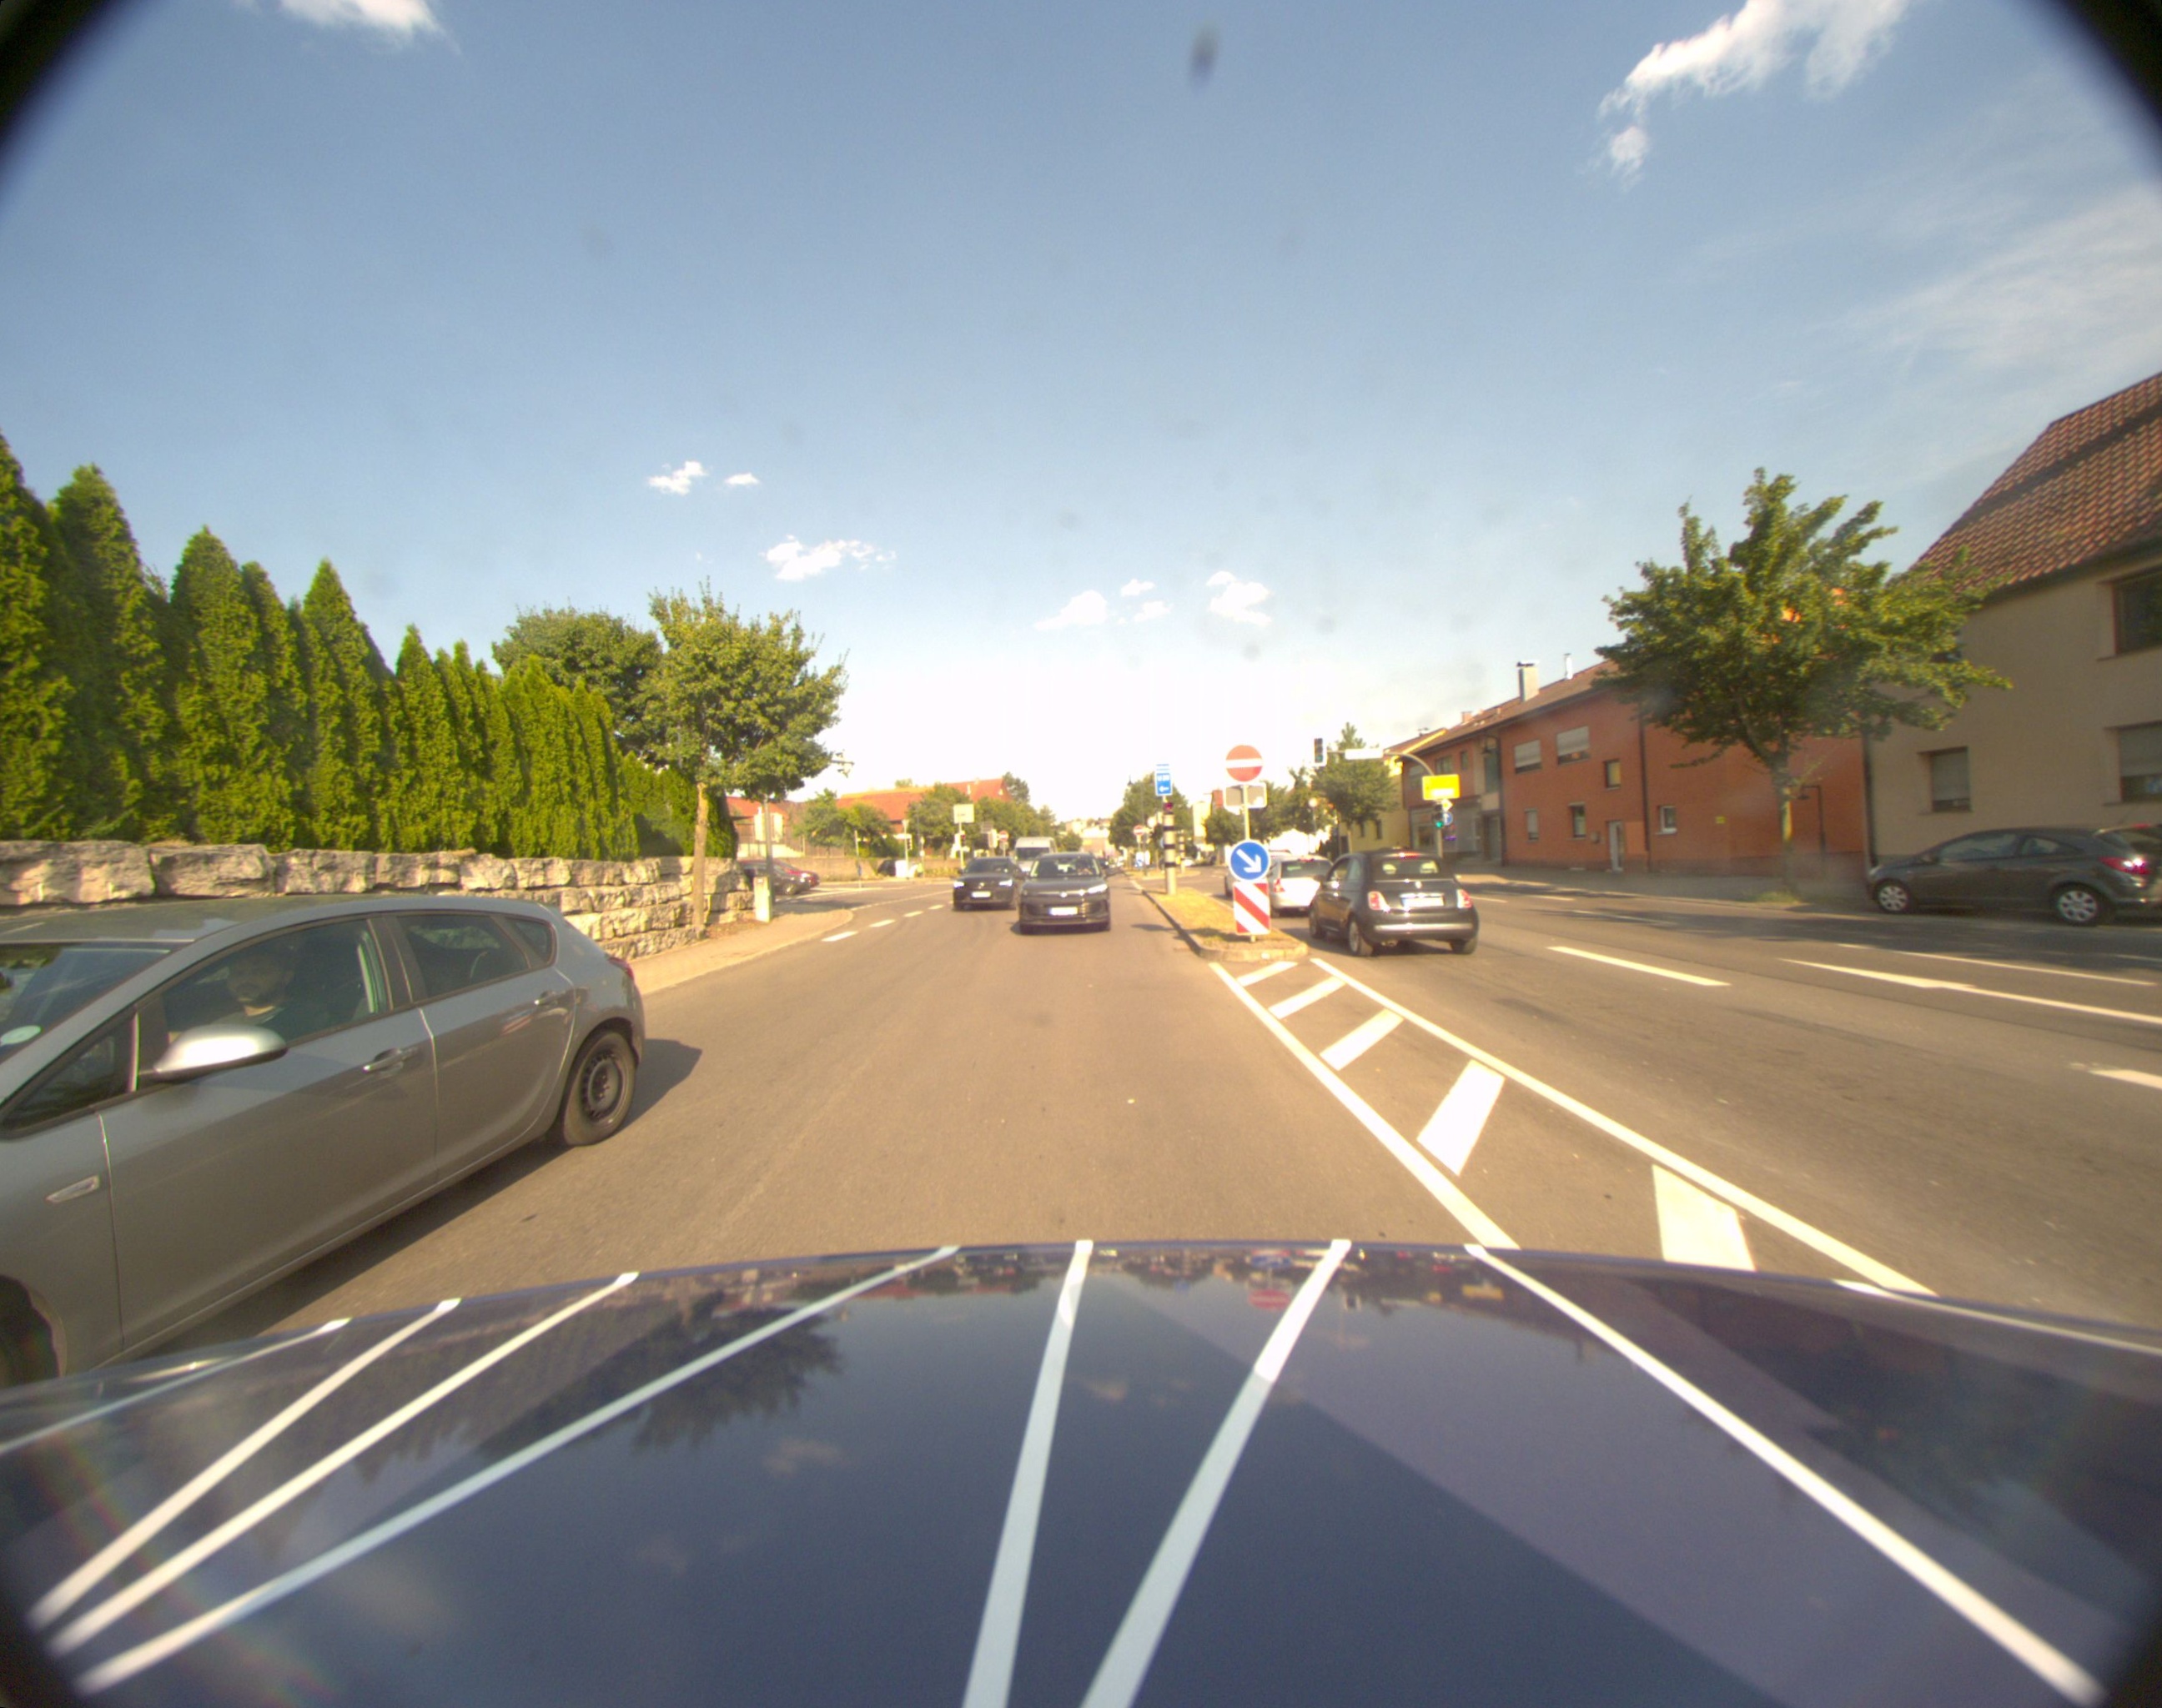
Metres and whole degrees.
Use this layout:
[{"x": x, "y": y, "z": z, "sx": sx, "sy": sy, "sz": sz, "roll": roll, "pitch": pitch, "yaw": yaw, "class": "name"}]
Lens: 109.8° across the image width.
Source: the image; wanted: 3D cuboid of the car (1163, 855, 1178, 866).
[{"x": 12.549, "y": 0.925, "z": 107.041, "sx": 1.761, "sy": 1.403, "sz": 4.001, "roll": -2, "pitch": 0, "yaw": 2, "class": "car"}]

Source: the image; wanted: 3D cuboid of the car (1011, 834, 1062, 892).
[{"x": -2.166, "y": 0.426, "z": 38.749, "sx": 2.040, "sy": 2.642, "sz": 6.649, "roll": -2, "pitch": 0, "yaw": 1, "class": "car"}]

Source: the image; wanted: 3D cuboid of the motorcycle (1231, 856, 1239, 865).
[{"x": 14.733, "y": 0.647, "z": 72.810, "sx": 0.413, "sy": 0.855, "sz": 1.763, "roll": -2, "pitch": 0, "yaw": 1, "class": "motorcycle"}]

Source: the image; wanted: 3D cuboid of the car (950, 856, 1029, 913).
[{"x": -2.759, "y": 0.890, "z": 23.838, "sx": 1.792, "sy": 1.596, "sz": 4.057, "roll": -2, "pitch": 0, "yaw": 2, "class": "car"}]

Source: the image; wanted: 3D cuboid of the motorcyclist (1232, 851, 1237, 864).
[{"x": 14.716, "y": 0.308, "z": 72.820, "sx": 0.404, "sy": 1.221, "sz": 0.462, "roll": -2, "pitch": 0, "yaw": 0, "class": "motorcyclist"}]

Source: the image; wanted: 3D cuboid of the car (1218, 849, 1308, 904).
[{"x": 5.574, "y": 0.653, "z": 23.813, "sx": 1.839, "sy": 1.479, "sz": 4.567, "roll": -2, "pitch": 0, "yaw": 2, "class": "car"}]

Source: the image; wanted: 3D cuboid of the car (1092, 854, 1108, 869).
[{"x": 2.348, "y": 0.915, "z": 94.301, "sx": 1.816, "sy": 1.861, "sz": 4.001, "roll": -2, "pitch": 0, "yaw": 2, "class": "car"}]

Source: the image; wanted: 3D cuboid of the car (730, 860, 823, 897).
[{"x": -14.166, "y": 1.109, "z": 35.492, "sx": 3.801, "sy": 1.533, "sz": 1.596, "roll": -2, "pitch": 1, "yaw": -15, "class": "car"}]

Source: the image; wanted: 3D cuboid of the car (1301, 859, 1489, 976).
[{"x": 4.543, "y": 0.831, "z": 11.526, "sx": 1.536, "sy": 1.453, "sz": 3.507, "roll": -2, "pitch": 0, "yaw": 3, "class": "car"}]

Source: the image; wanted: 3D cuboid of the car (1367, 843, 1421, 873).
[{"x": 16.996, "y": 0.219, "z": 41.448, "sx": 1.595, "sy": 1.430, "sz": 3.776, "roll": -6, "pitch": -1, "yaw": 6, "class": "car"}]

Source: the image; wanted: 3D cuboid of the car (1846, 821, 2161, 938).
[{"x": 14.910, "y": 0.333, "z": 12.092, "sx": 1.515, "sy": 1.501, "sz": 3.886, "roll": -4, "pitch": 0, "yaw": 1, "class": "car"}]

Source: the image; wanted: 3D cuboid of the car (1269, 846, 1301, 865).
[{"x": 17.782, "y": 0.144, "z": 66.561, "sx": 1.859, "sy": 1.586, "sz": 4.461, "roll": -2, "pitch": 0, "yaw": 4, "class": "car"}]

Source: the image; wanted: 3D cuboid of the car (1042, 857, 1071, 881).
[{"x": -1.746, "y": 1.072, "z": 55.217, "sx": 1.768, "sy": 1.582, "sz": 4.057, "roll": -3, "pitch": 0, "yaw": 2, "class": "car"}]

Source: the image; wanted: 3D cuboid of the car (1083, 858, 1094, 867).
[{"x": 1.263, "y": 1.425, "z": 124.750, "sx": 1.529, "sy": 1.353, "sz": 2.793, "roll": -2, "pitch": 0, "yaw": 6, "class": "car"}]

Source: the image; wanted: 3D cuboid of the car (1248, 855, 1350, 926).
[{"x": 5.042, "y": 0.786, "z": 17.989, "sx": 1.592, "sy": 1.419, "sz": 3.579, "roll": -2, "pitch": 0, "yaw": 5, "class": "car"}]

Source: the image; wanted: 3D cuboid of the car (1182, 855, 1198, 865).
[{"x": 16.066, "y": 0.829, "z": 111.930, "sx": 1.761, "sy": 1.403, "sz": 4.001, "roll": -2, "pitch": 0, "yaw": 2, "class": "car"}]

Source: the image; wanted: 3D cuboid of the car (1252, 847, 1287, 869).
[{"x": 14.402, "y": 0.286, "z": 58.363, "sx": 1.690, "sy": 1.602, "sz": 4.414, "roll": -2, "pitch": 0, "yaw": 2, "class": "car"}]

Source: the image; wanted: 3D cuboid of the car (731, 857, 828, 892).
[{"x": -15.685, "y": 1.065, "z": 39.715, "sx": 4.251, "sy": 1.616, "sz": 1.862, "roll": -2, "pitch": 0, "yaw": -4, "class": "car"}]

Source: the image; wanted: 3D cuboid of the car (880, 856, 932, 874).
[{"x": -15.522, "y": 1.008, "z": 67.445, "sx": 4.072, "sy": 1.447, "sz": 1.680, "roll": -2, "pitch": 0, "yaw": 15, "class": "car"}]

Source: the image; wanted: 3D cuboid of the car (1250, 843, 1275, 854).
[{"x": 26.534, "y": -0.801, "z": 111.227, "sx": 3.417, "sy": 1.616, "sz": 1.857, "roll": 0, "pitch": 0, "yaw": -40, "class": "car"}]

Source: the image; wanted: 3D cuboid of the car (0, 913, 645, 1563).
[{"x": -3.510, "y": 1.062, "z": 2.600, "sx": 1.652, "sy": 1.414, "sz": 4.143, "roll": -1, "pitch": 0, "yaw": 0, "class": "car"}]

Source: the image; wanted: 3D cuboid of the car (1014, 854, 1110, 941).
[{"x": -0.282, "y": 0.847, "z": 16.465, "sx": 1.768, "sy": 1.582, "sz": 4.057, "roll": -3, "pitch": 0, "yaw": 2, "class": "car"}]

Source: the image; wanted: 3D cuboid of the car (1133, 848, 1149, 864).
[{"x": 9.605, "y": 0.337, "z": 121.580, "sx": 2.090, "sy": 2.461, "sz": 5.479, "roll": -2, "pitch": 0, "yaw": 0, "class": "car"}]
